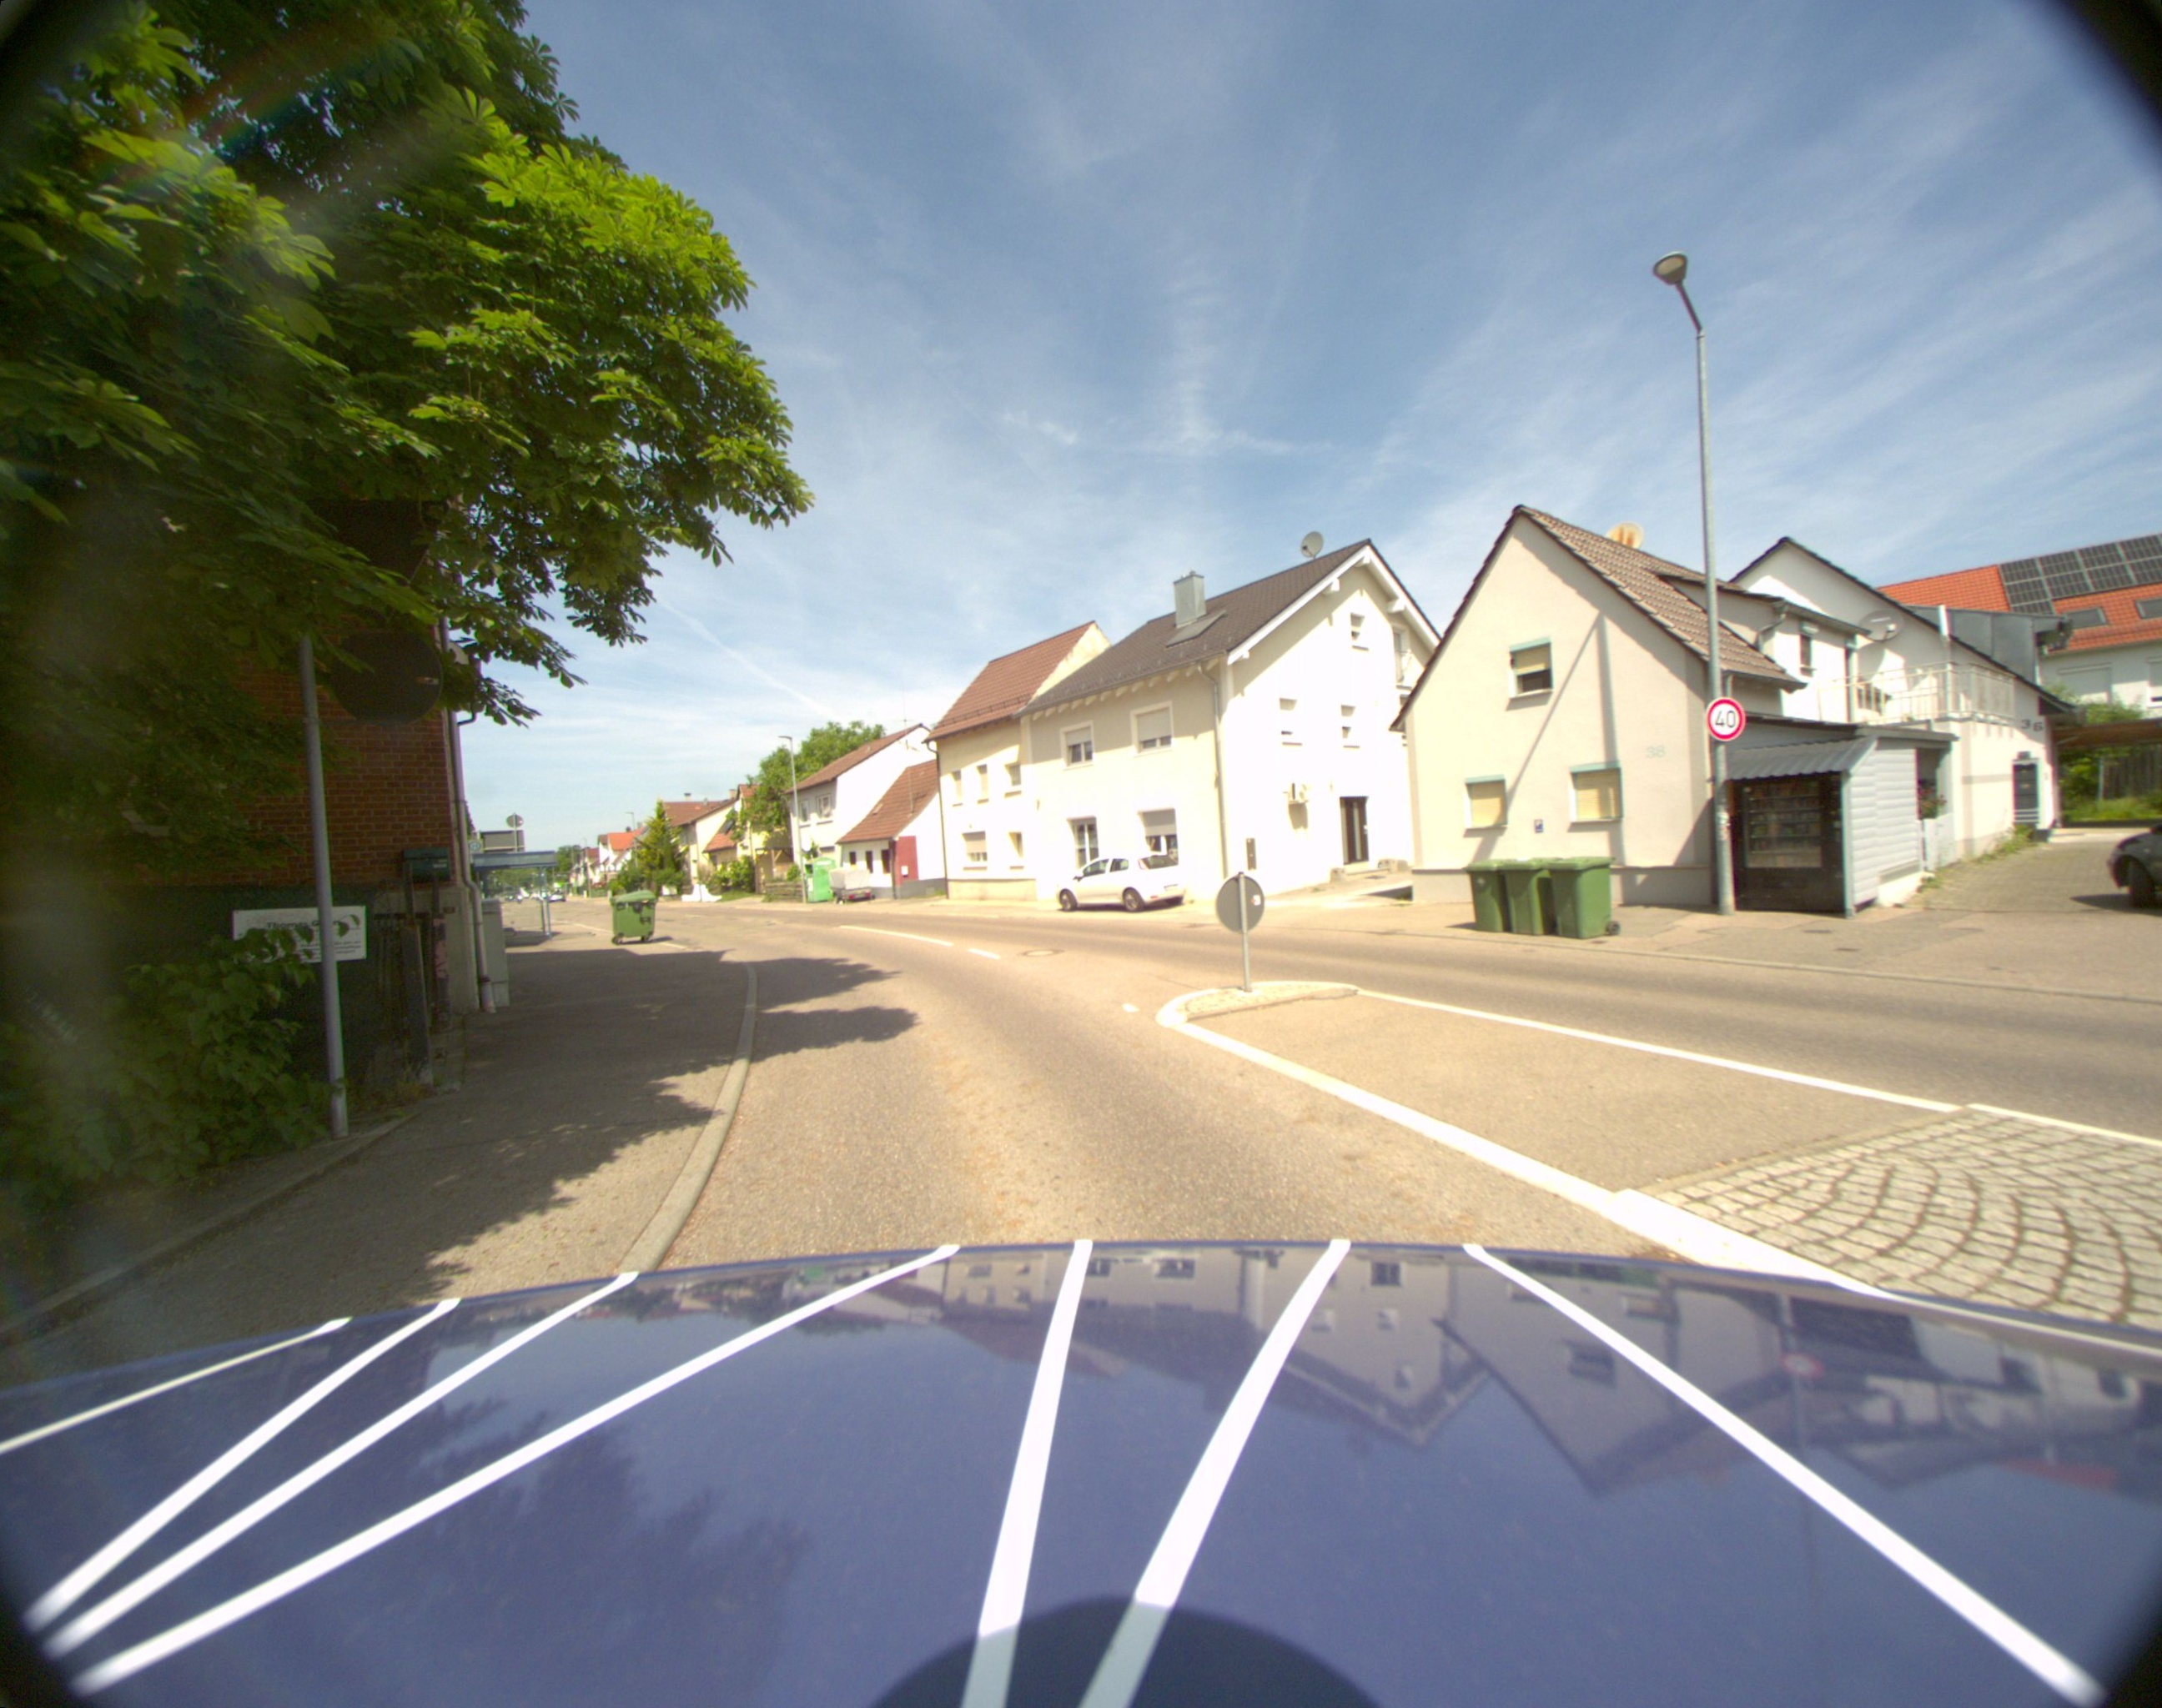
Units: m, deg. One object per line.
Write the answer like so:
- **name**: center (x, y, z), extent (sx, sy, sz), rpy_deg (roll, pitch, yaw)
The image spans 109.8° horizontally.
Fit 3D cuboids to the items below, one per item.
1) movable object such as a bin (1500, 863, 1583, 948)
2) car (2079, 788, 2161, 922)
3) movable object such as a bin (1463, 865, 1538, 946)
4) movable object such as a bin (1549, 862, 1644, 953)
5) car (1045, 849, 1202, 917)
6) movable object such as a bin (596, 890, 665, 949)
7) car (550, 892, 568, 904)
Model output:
- **movable object such as a bin**: center (6.455, 0.704, 10.662), extent (0.733, 1.071, 0.631), rpy_deg (-7, 2, -26)
- **car**: center (12.553, 0.049, 7.484), extent (1.774, 1.433, 3.851), rpy_deg (-5, 3, 27)
- **movable object such as a bin**: center (6.230, 0.748, 11.298), extent (0.644, 1.087, 0.631), rpy_deg (-7, 2, -26)
- **movable object such as a bin**: center (6.792, 0.683, 10.020), extent (0.683, 1.071, 0.724), rpy_deg (-7, 2, -26)
- **car**: center (1.047, 0.769, 20.441), extent (1.829, 1.494, 3.990), rpy_deg (-7, 2, -41)
- **movable object such as a bin**: center (-12.681, 1.812, 21.387), extent (1.358, 1.512, 1.288), rpy_deg (-4, 0, -41)
- **car**: center (-66.972, 5.601, 97.476), extent (1.652, 1.349, 3.557), rpy_deg (-4, 0, -39)
